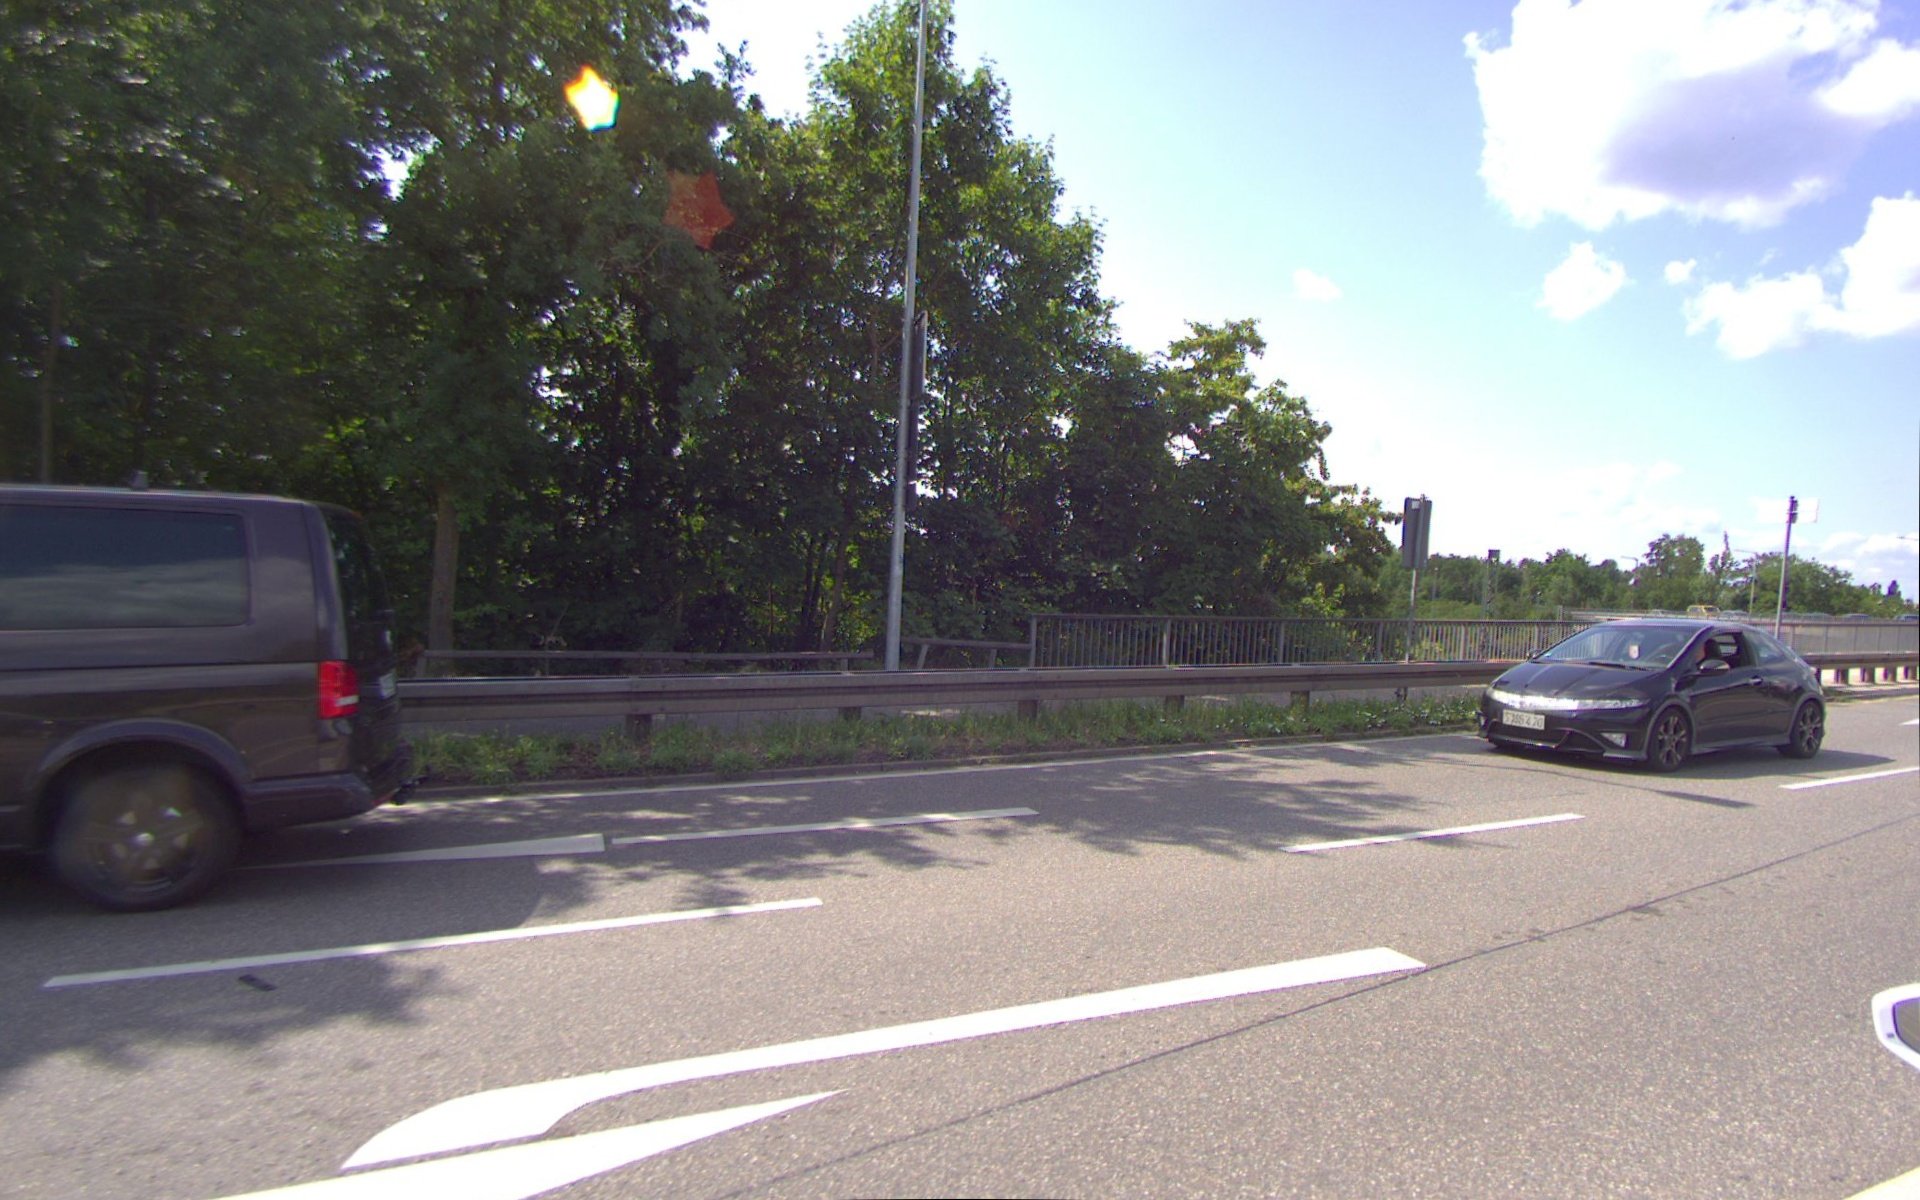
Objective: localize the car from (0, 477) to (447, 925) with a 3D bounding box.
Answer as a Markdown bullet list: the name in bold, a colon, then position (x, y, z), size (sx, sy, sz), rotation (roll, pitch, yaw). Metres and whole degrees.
- **car**: position (-5.403, 0.418, 4.860), size (5.061, 1.939, 1.988), rotation (1, 0, -24)

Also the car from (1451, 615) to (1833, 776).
- **car**: position (7.358, 0.911, 10.791), size (3.957, 1.408, 1.791), rotation (1, 0, -29)
